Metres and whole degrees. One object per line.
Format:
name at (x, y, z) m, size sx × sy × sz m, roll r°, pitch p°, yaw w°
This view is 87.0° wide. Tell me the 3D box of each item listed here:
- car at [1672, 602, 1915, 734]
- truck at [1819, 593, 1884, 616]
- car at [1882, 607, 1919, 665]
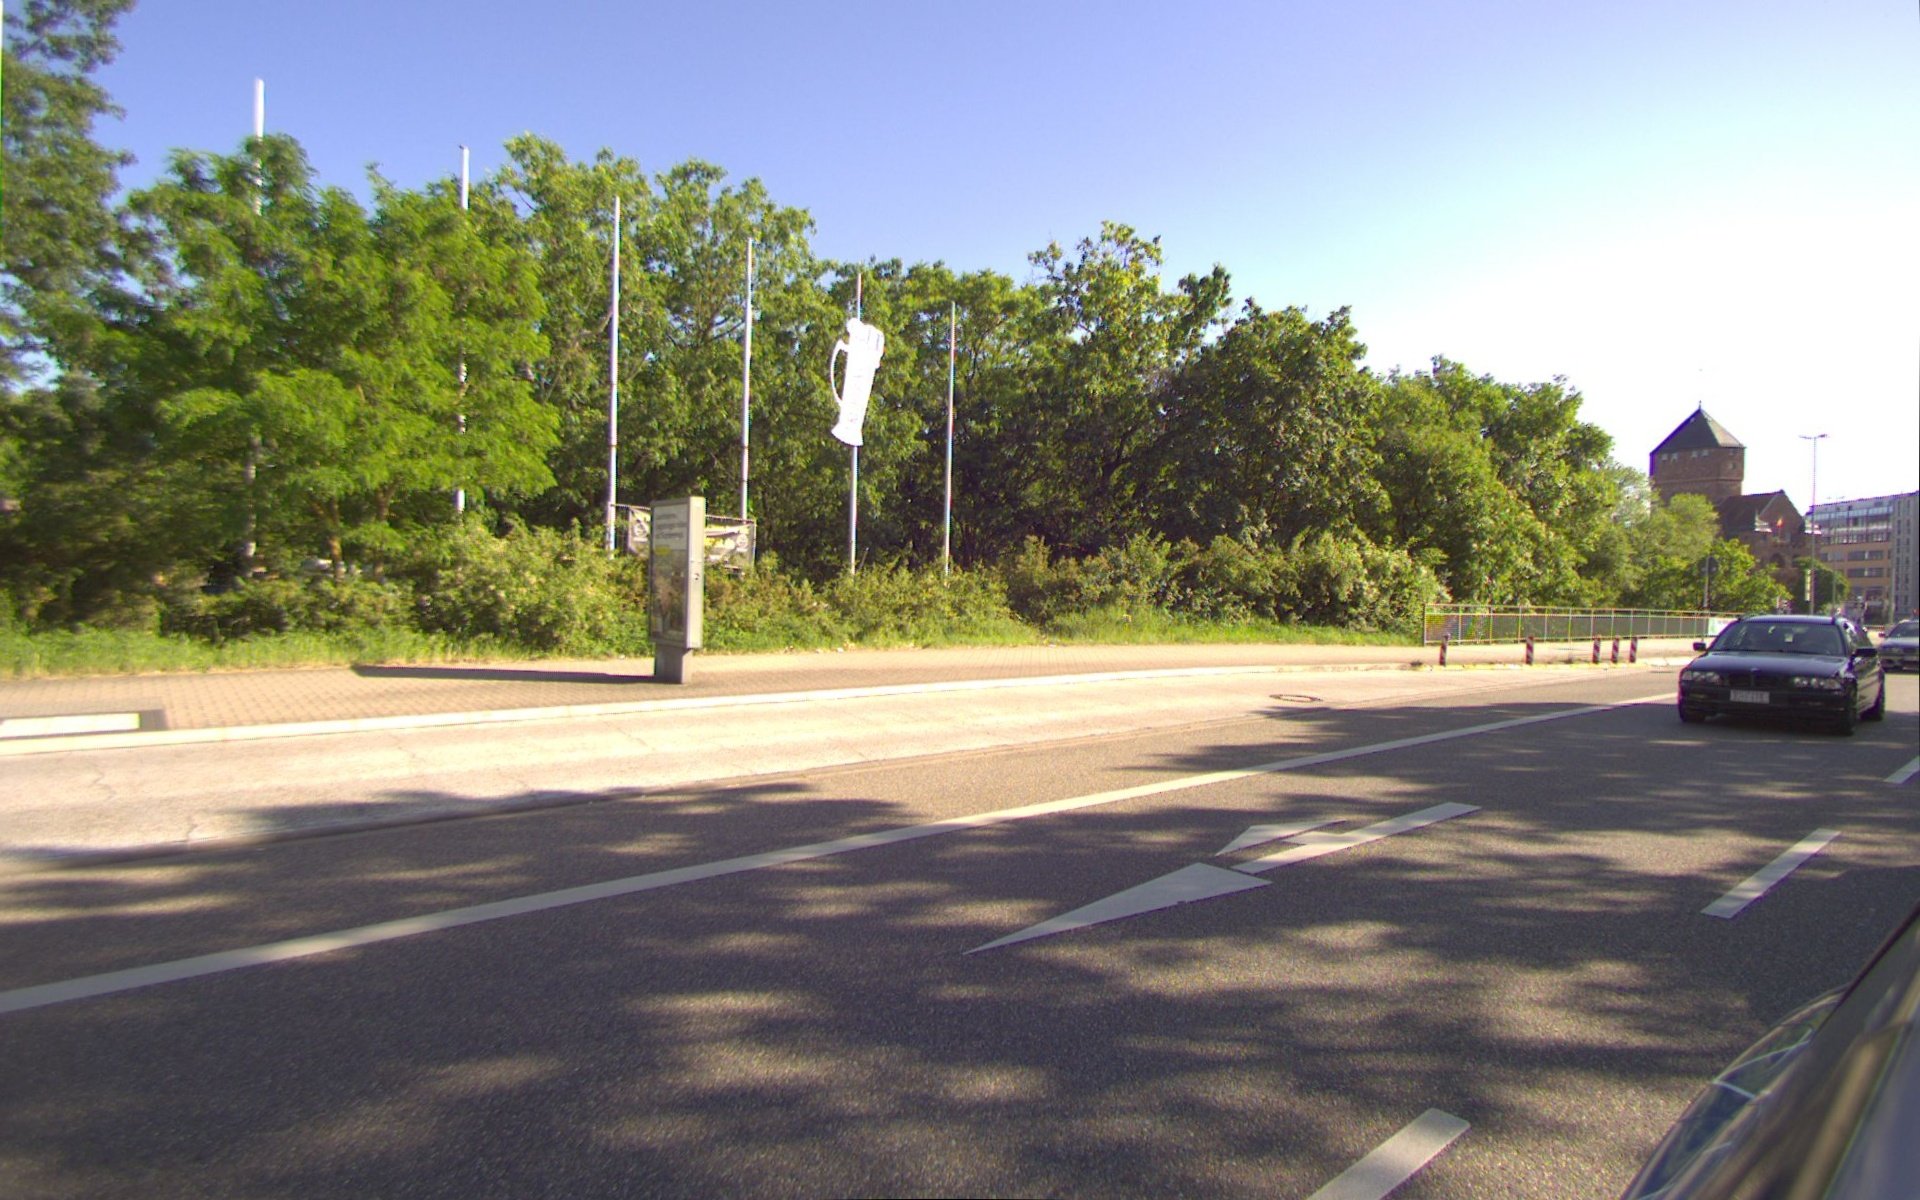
car at (11.064, 0.770, 13.323) m, size 4.242 × 1.420 × 1.775 m, roll 0°, pitch 1°, yaw -41°
truck at (138.148, 0.690, 156.937) m, size 3.475 × 3.291 × 9.130 m, roll 1°, pitch 1°, yaw 13°
car at (25.722, 0.953, 26.551) m, size 3.929 × 1.438 × 1.784 m, roll 1°, pitch 0°, yaw -41°
